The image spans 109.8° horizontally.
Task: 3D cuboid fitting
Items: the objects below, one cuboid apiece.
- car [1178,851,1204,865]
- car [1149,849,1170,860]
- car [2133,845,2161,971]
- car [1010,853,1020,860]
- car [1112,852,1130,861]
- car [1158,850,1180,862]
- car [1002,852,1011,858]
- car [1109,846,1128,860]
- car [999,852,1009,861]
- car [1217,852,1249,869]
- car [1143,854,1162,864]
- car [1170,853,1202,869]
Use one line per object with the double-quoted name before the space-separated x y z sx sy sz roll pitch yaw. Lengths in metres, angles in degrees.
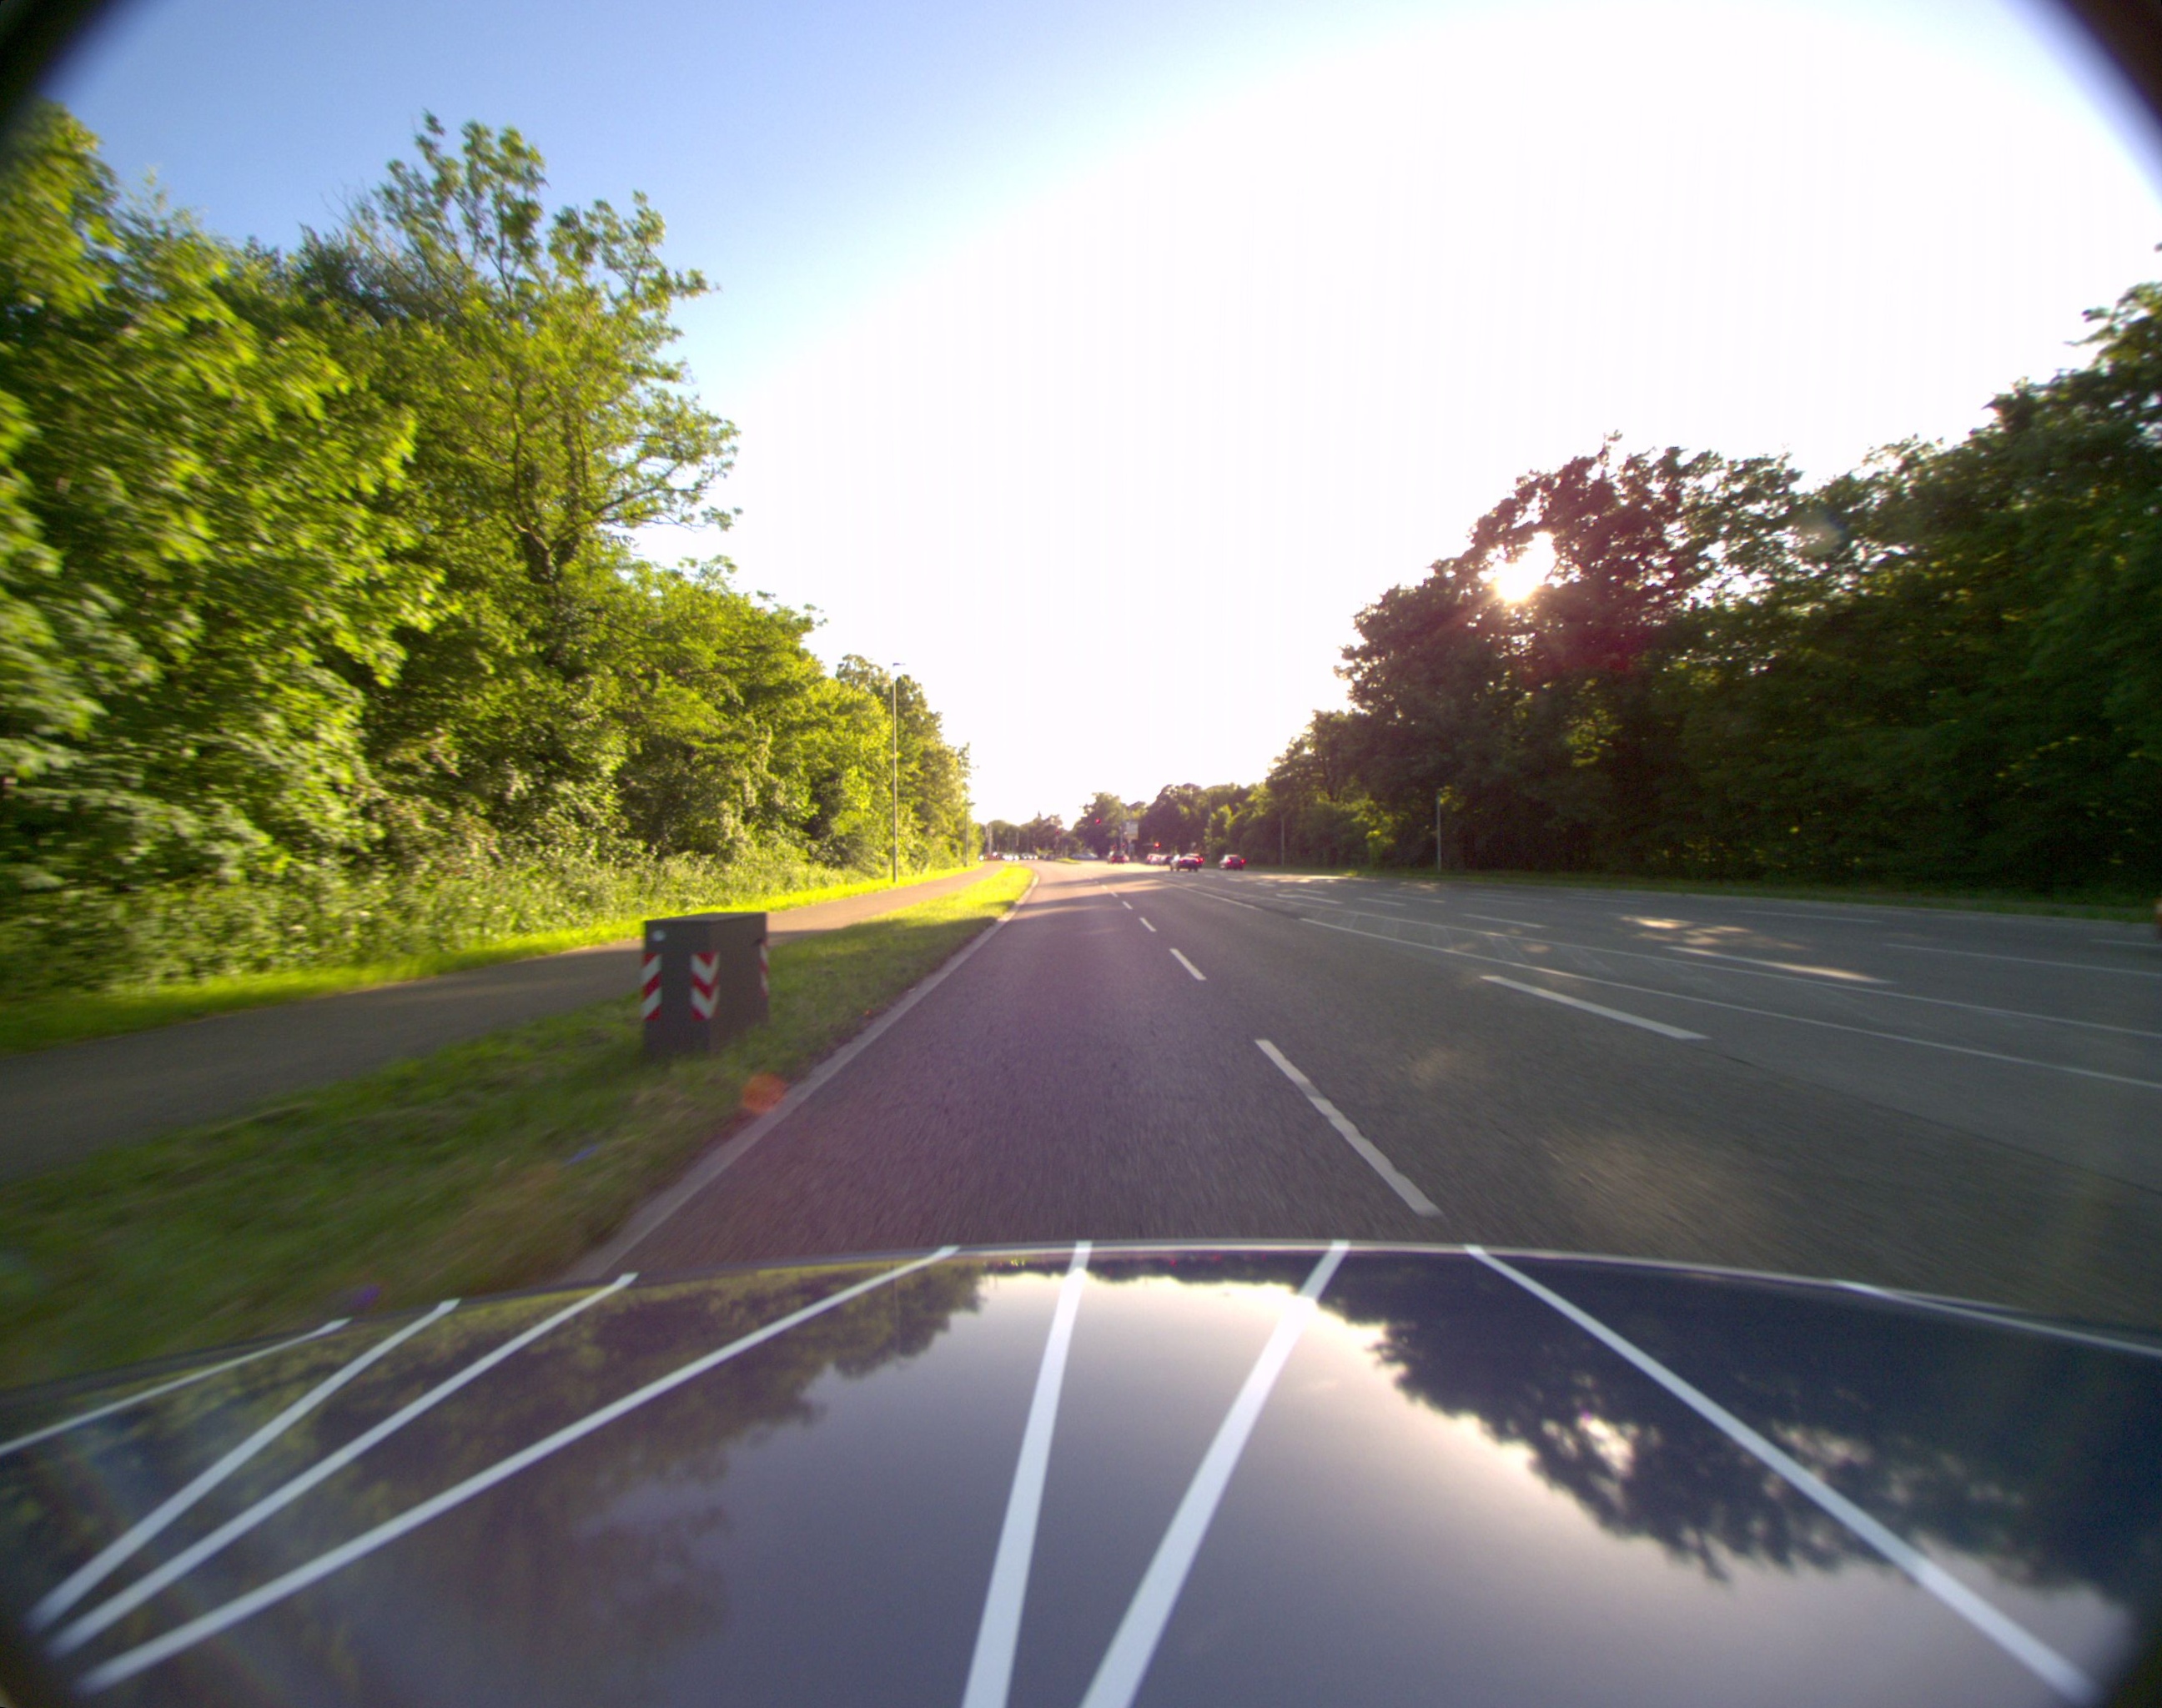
"car" 13.253 0.458 91.890 1.999 1.627 4.841 0 0 -5
"car" 11.562 0.080 112.139 2.000 1.555 4.644 3 0 -7
"car" 13.970 0.662 7.353 1.829 1.536 4.257 -1 0 4
"car" -15.885 0.587 182.981 2.000 1.510 3.995 -1 1 -10
"car" 6.560 0.376 124.993 2.000 1.442 4.644 1 0 -7
"car" 12.055 0.251 104.430 1.999 1.555 4.645 3 0 -5
"car" -18.617 0.302 190.088 2.000 1.510 3.995 -1 1 -10
"car" 5.470 -0.119 112.002 2.000 1.950 4.644 1 0 -7
"car" -18.431 0.648 181.478 2.000 2.057 3.995 -1 1 -10
"car" 14.630 0.583 73.274 1.999 1.555 4.337 0 0 -3
"car" 11.209 0.777 119.288 1.999 1.555 4.645 2 0 -5
"car" 8.442 0.571 61.675 1.749 1.227 4.672 0 0 -3
